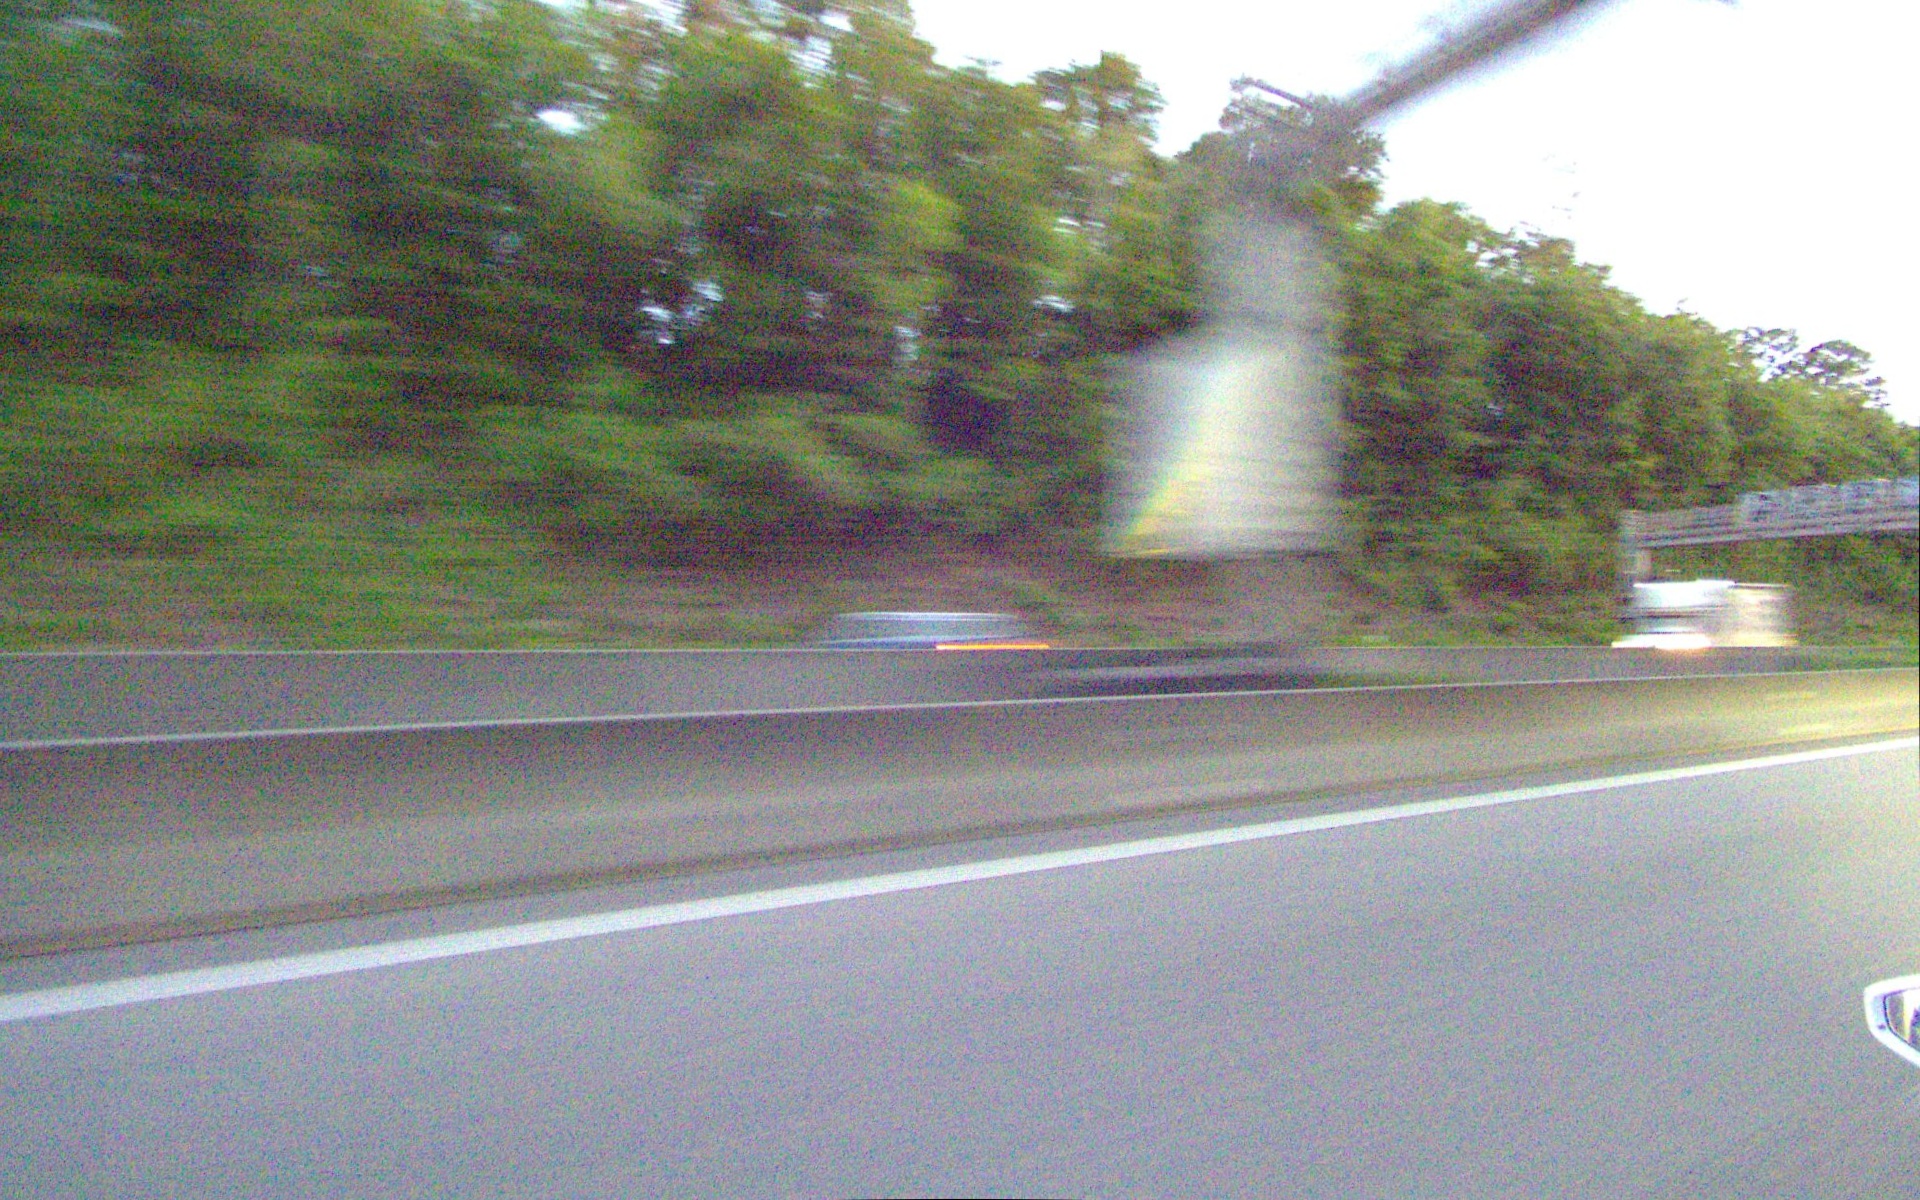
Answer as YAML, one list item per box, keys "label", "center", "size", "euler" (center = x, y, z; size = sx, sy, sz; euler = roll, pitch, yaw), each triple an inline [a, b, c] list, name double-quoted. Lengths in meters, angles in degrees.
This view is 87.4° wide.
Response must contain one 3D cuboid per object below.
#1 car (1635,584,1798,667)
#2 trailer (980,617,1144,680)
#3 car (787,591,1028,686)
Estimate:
- label: "car"
  center: [28.676, 1.003, 37.985]
  size: [7.738, 2.918, 1.973]
  euler: [2, -1, -29]
- label: "trailer"
  center: [2.284, 1.055, 22.520]
  size: [3.086, 1.265, 1.984]
  euler: [1, -1, -30]
- label: "car"
  center: [-1.041, 0.768, 20.577]
  size: [4.519, 1.758, 1.984]
  euler: [1, -1, -30]
